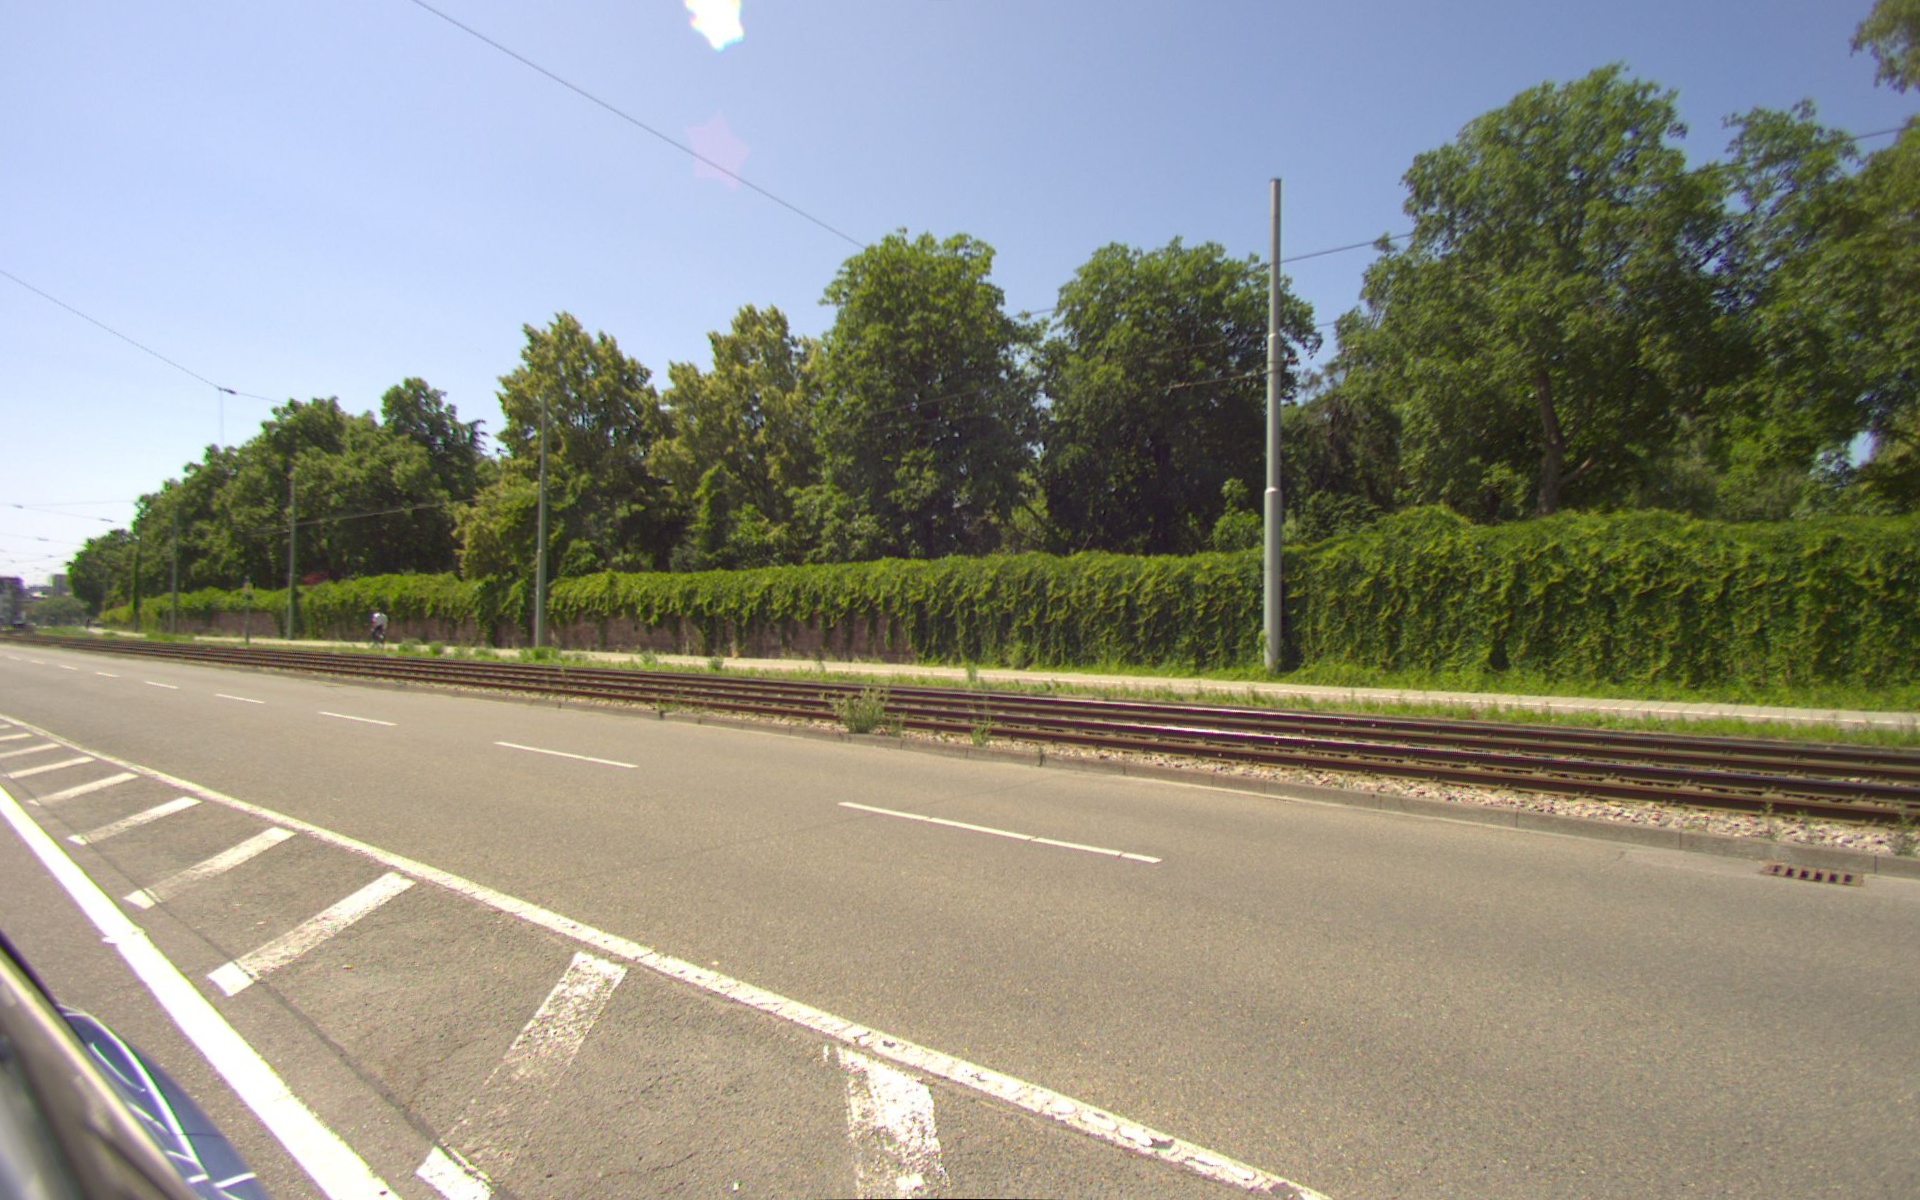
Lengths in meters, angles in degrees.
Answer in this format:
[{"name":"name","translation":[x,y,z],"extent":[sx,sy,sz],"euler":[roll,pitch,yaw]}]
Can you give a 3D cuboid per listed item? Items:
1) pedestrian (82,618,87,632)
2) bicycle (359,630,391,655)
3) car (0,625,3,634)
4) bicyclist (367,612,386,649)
[{"name":"pedestrian","translation":[-113.018,3.220,130.605],"extent":[0.302,1.677,0.447],"euler":[-2,-1,41]},{"name":"bicycle","translation":[-26.288,1.899,45.483],"extent":[1.976,1.063,0.610],"euler":[-1,0,40]},{"name":"car","translation":[-158.729,4.887,166.138],"extent":[1.773,1.508,3.973],"euler":[-1,-1,-35]},{"name":"bicyclist","translation":[-26.178,1.356,45.392],"extent":[0.768,1.624,0.477],"euler":[-1,0,40]}]
